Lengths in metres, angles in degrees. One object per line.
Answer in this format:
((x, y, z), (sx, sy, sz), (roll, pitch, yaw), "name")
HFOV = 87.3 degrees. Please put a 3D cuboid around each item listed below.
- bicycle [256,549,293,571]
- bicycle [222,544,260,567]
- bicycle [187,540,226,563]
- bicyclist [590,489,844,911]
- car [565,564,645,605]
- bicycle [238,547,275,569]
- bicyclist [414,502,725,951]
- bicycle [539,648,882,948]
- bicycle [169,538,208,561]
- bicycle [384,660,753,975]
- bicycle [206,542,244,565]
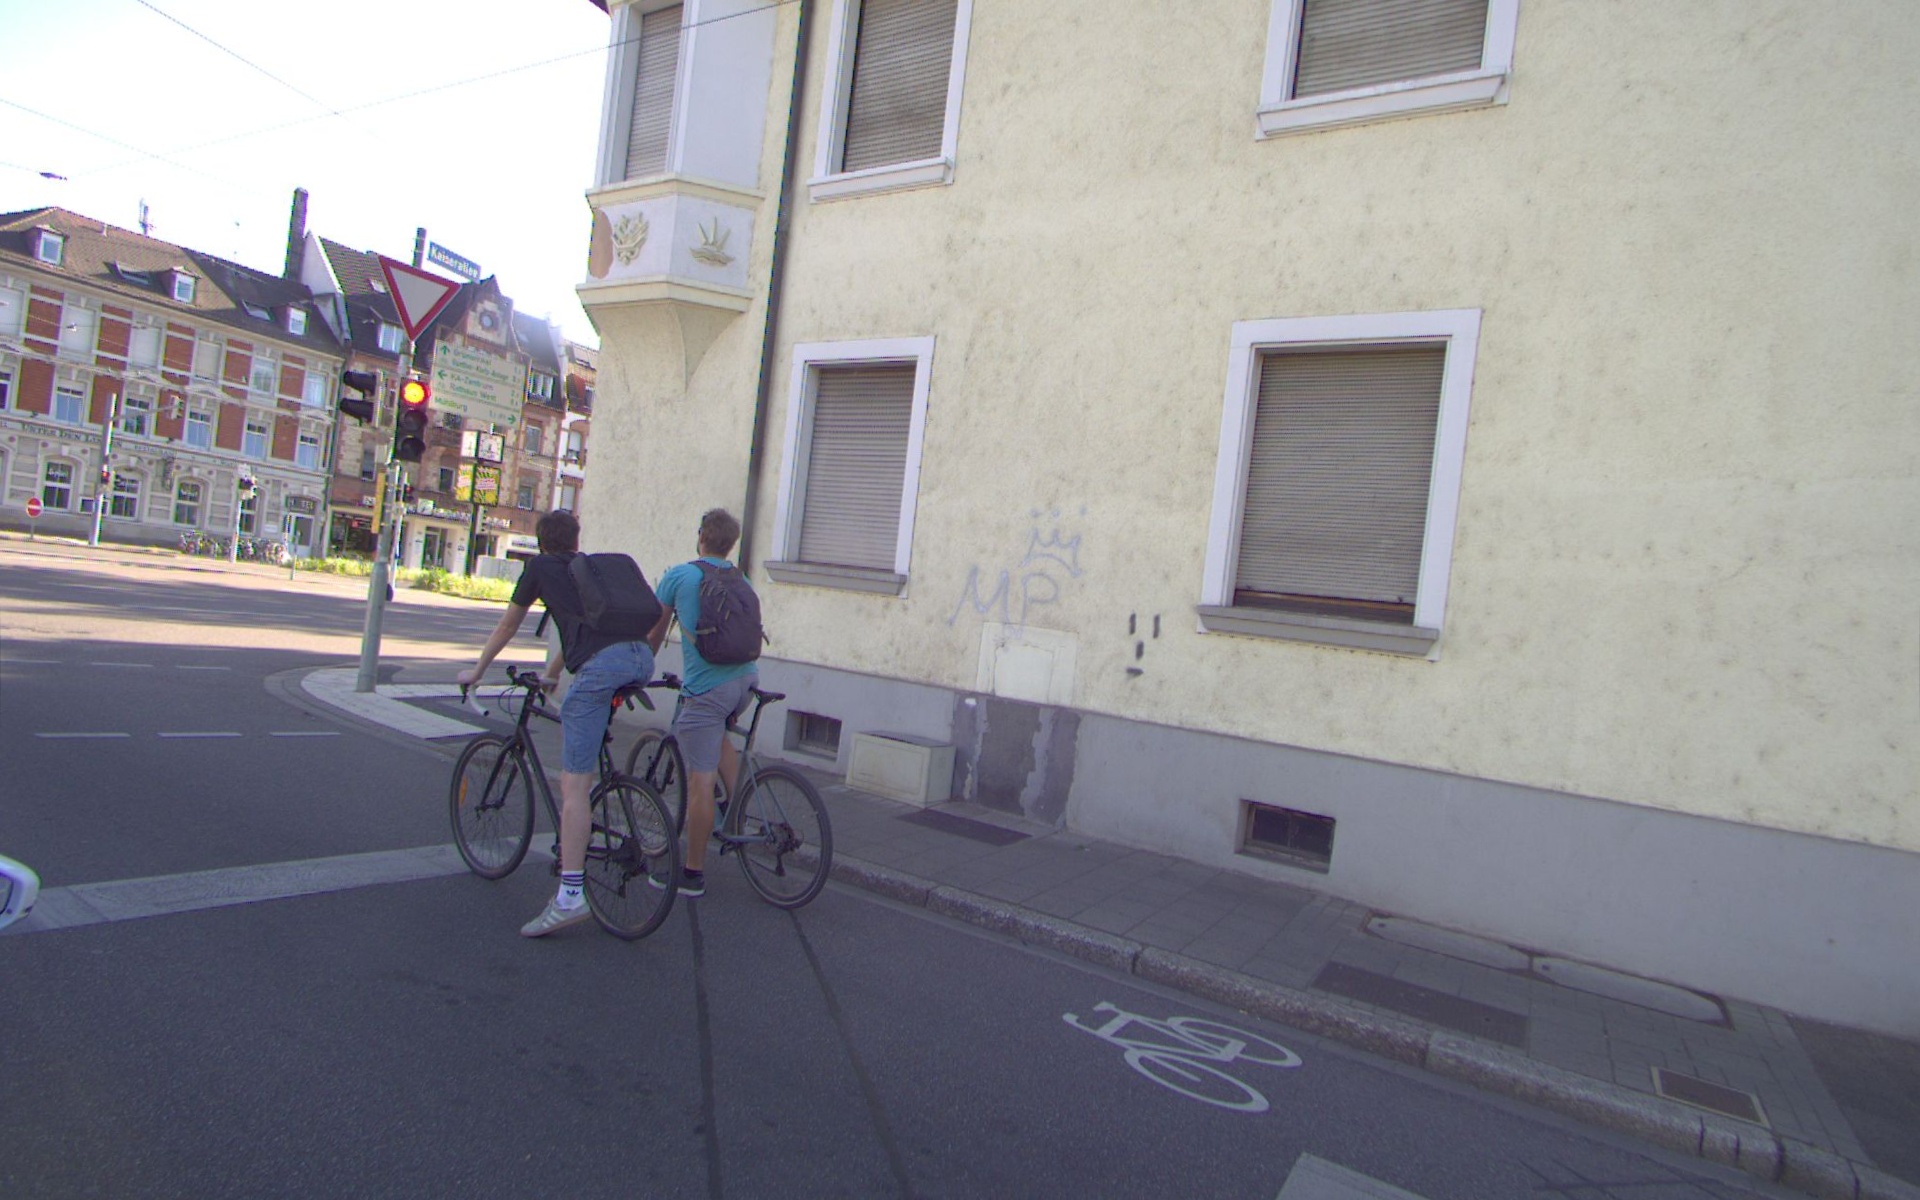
((-33.107, -1.932, 48.593), (2.125, 0.850, 0.659), (6, -2, 33), "bicycle")
((-33.850, -2.080, 47.358), (2.125, 0.850, 0.659), (6, -2, 33), "bicycle")
((-34.558, -2.222, 46.140), (2.125, 0.850, 0.659), (6, -2, 33), "bicycle")
((-1.280, 0.477, 5.266), (0.930, 1.958, 0.519), (10, 2, 32), "bicyclist")
((-23.018, -0.981, 65.320), (1.968, 2.038, 4.430), (7, -1, 34), "car")
((-33.495, -2.012, 47.888), (2.125, 0.850, 0.659), (6, -2, 33), "bicycle")
((-1.746, 0.492, 4.482), (1.098, 1.722, 0.573), (7, 0, 32), "bicyclist")
((-1.350, 0.950, 5.276), (1.765, 1.104, 0.519), (9, 1, 31), "bicycle")
((-34.874, -2.291, 45.473), (2.125, 0.850, 0.659), (6, -2, 33), "bicycle")
((-1.794, 0.876, 4.503), (1.721, 0.982, 0.519), (7, 0, 32), "bicycle")
((-34.185, -2.148, 46.762), (2.125, 0.850, 0.659), (6, -2, 33), "bicycle")
